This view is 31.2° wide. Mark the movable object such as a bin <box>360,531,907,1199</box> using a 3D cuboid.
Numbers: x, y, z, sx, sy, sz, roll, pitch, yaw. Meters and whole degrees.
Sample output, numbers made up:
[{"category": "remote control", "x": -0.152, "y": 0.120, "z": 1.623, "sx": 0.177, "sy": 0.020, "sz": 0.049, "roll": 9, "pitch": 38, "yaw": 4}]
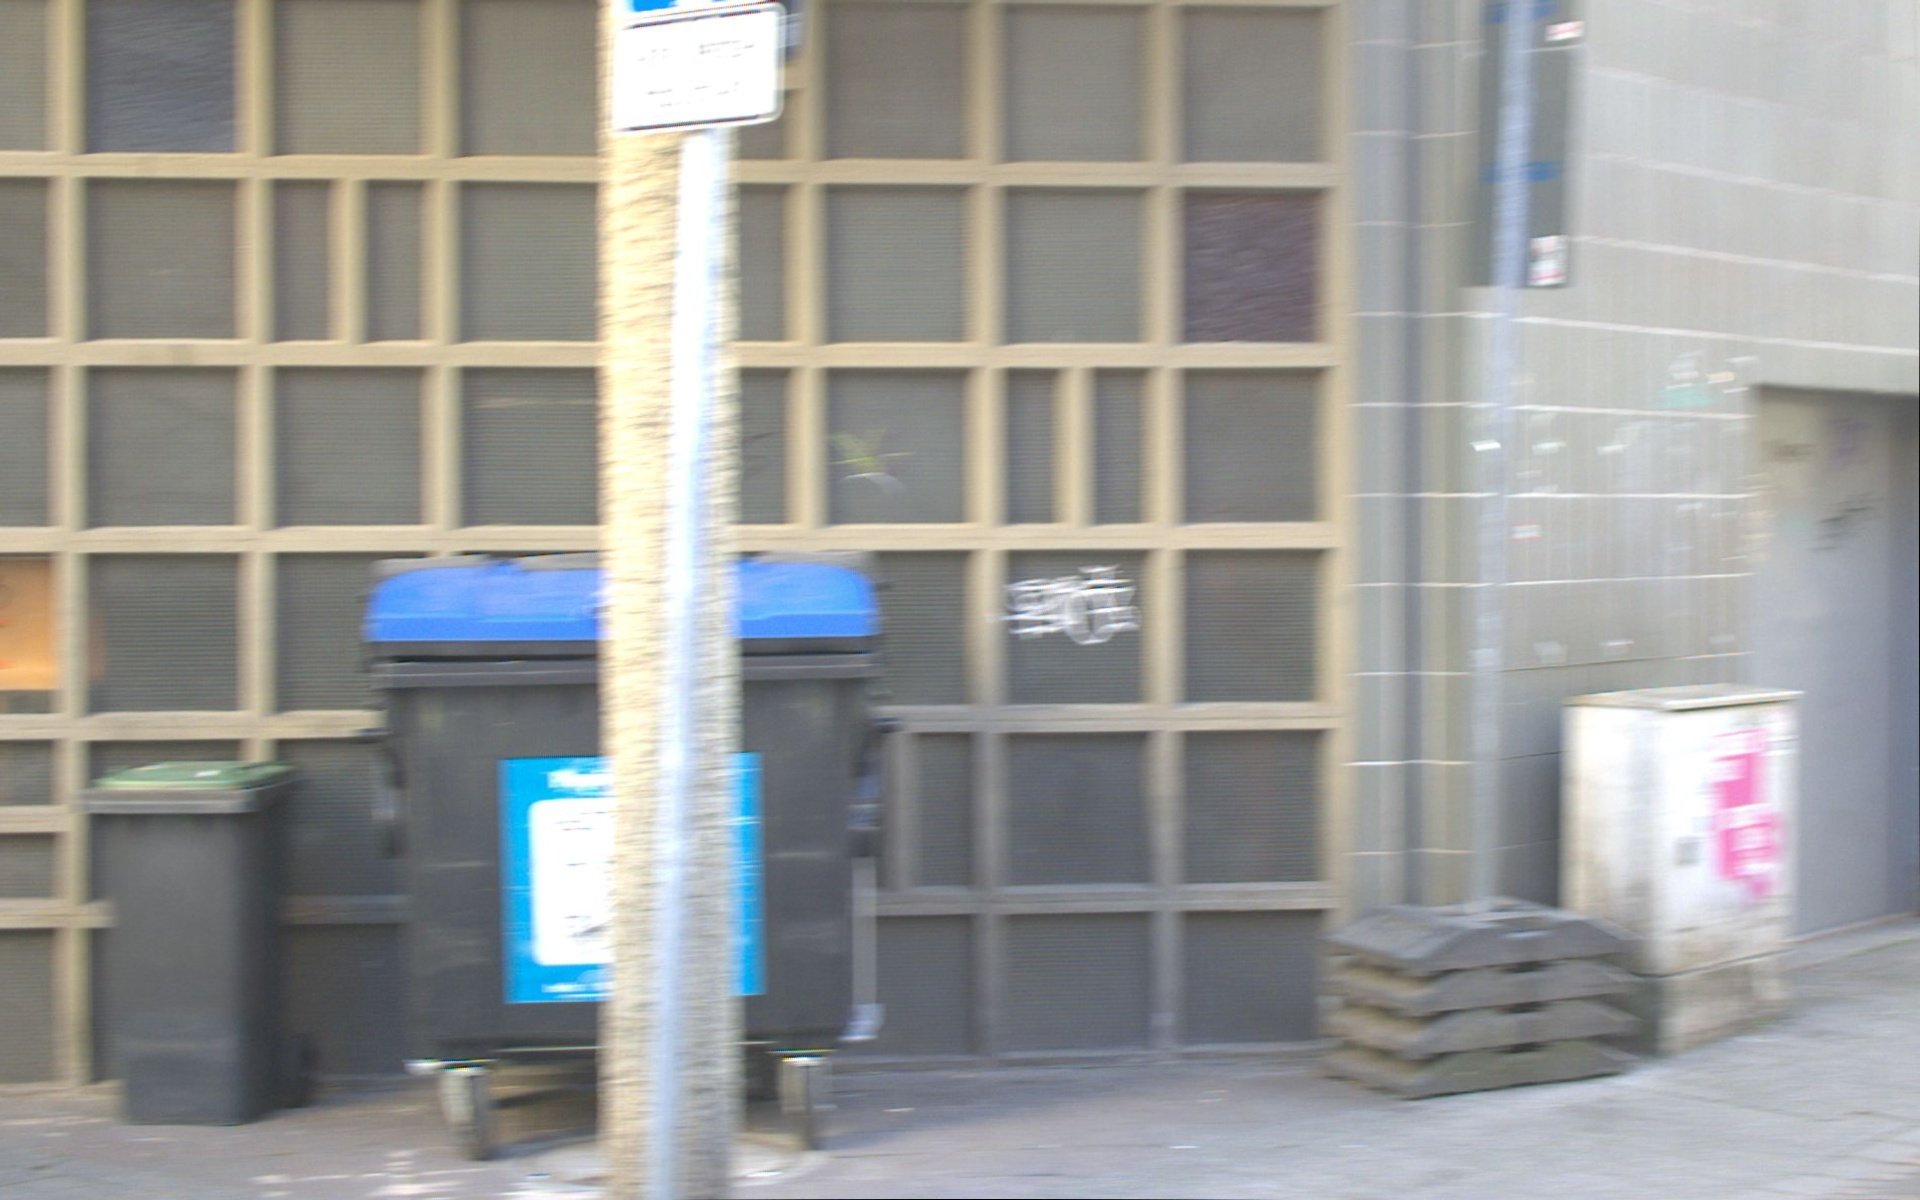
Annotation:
[{"category": "movable object such as a bin", "x": -0.838, "y": 0.630, "z": 8.726, "sx": 1.287, "sy": 1.583, "sz": 1.156, "roll": 0, "pitch": 2, "yaw": -7}]

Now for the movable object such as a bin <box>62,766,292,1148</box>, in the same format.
[{"category": "movable object such as a bin", "x": -2.034, "y": 0.916, "z": 8.973, "sx": 0.539, "sy": 0.920, "sz": 0.513, "roll": -1, "pitch": 1, "yaw": -9}]
